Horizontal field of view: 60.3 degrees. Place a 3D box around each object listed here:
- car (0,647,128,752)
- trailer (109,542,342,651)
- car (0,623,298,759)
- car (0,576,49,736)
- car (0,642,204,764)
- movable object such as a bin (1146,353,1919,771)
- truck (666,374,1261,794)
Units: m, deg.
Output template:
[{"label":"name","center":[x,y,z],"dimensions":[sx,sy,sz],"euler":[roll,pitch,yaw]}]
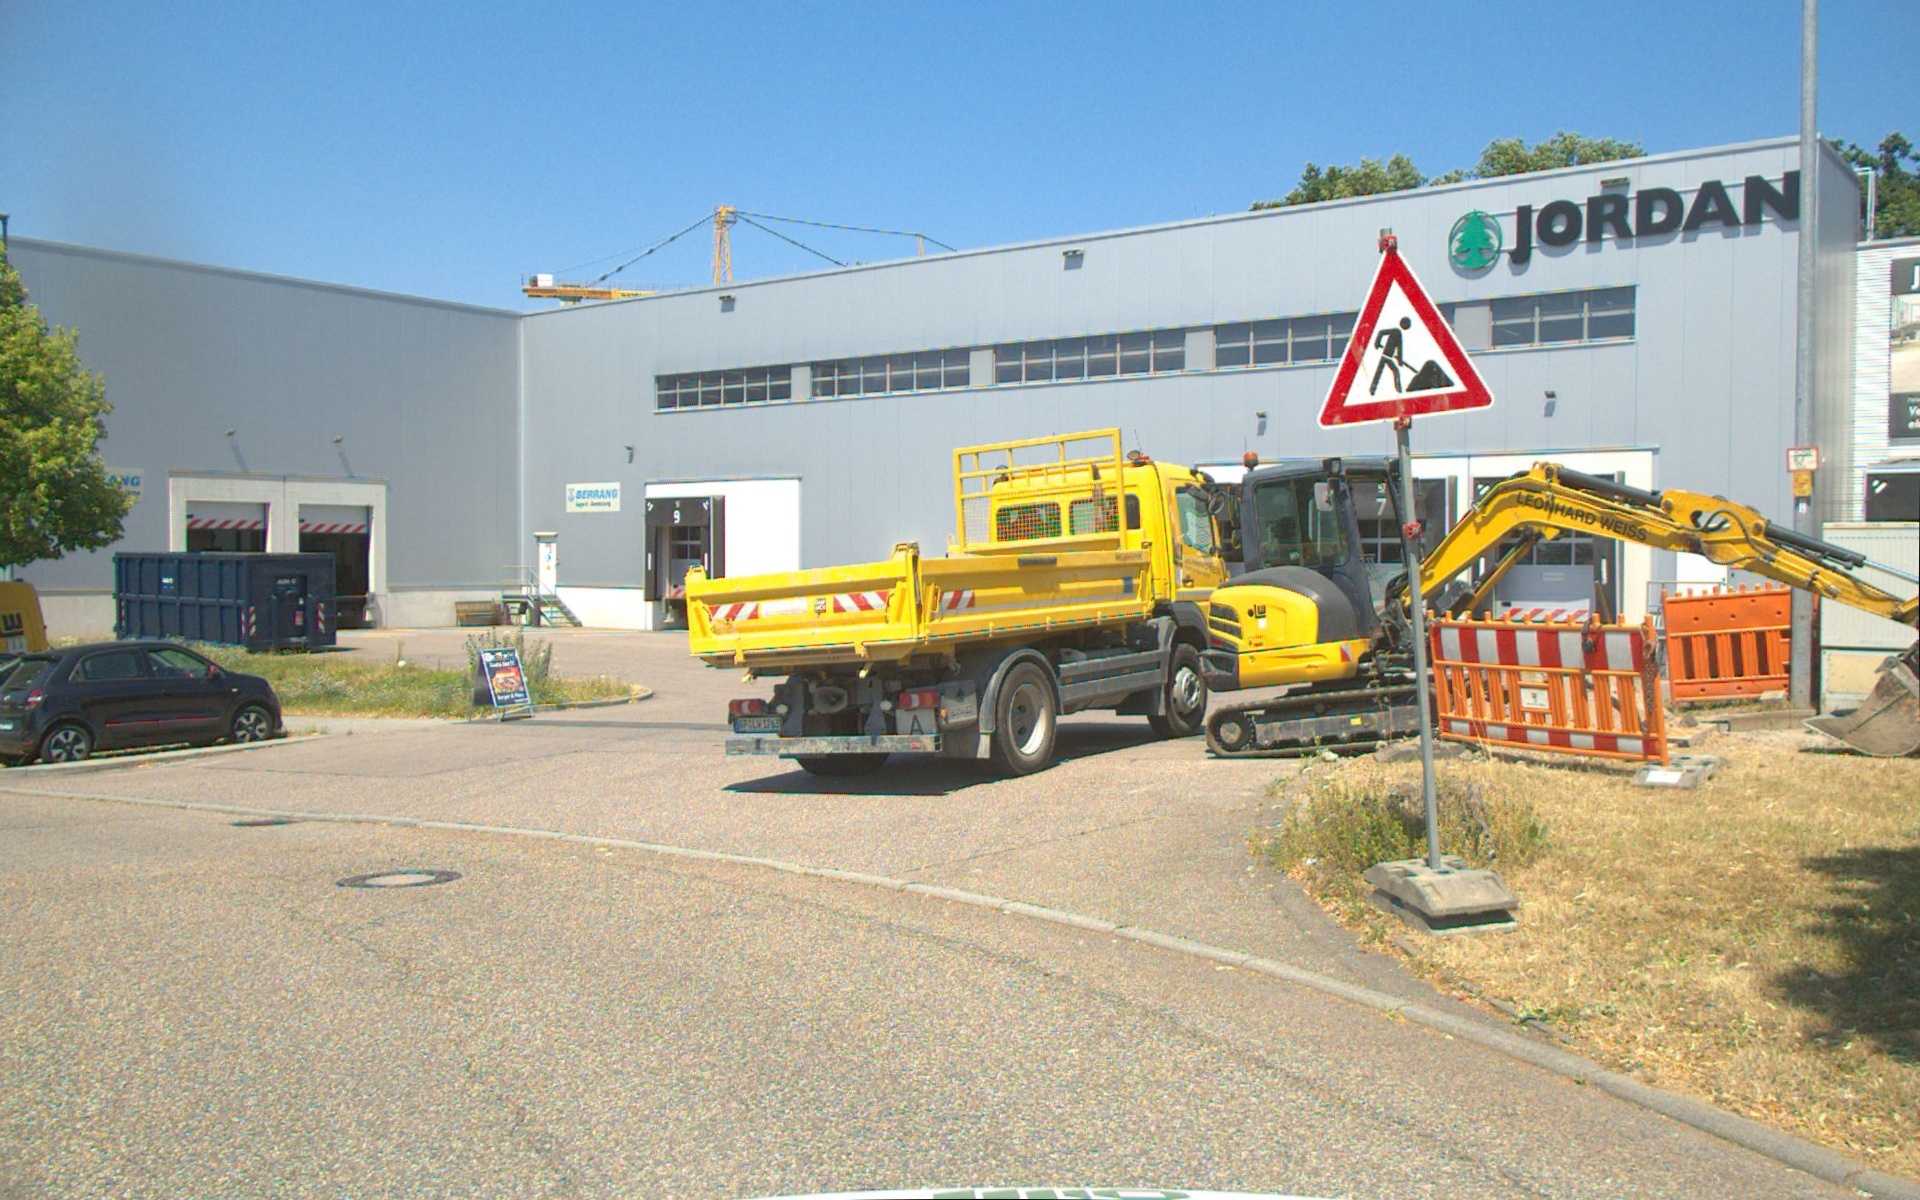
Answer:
[{"label":"car","center":[-14.988,1.546,25.436],"dimensions":[1.595,1.504,3.601],"euler":[-1,0,35]},{"label":"trailer","center":[-19.477,-0.164,43.644],"dimensions":[7.277,2.462,2.654],"euler":[4,2,40]},{"label":"car","center":[-11.114,1.166,22.397],"dimensions":[1.595,1.488,3.657],"euler":[-2,1,37]},{"label":"car","center":[-18.851,1.059,27.926],"dimensions":[1.960,2.780,5.778],"euler":[0,2,35]},{"label":"car","center":[-13.025,1.442,23.623],"dimensions":[1.558,1.533,3.770],"euler":[-1,0,35]},{"label":"movable object such as a bin","center":[4.690,-0.167,13.032],"dimensions":[6.461,2.626,1.988],"euler":[-2,-1,43]},{"label":"truck","center":[0.394,-0.218,15.961],"dimensions":[2.541,3.190,6.408],"euler":[-3,1,33]}]
